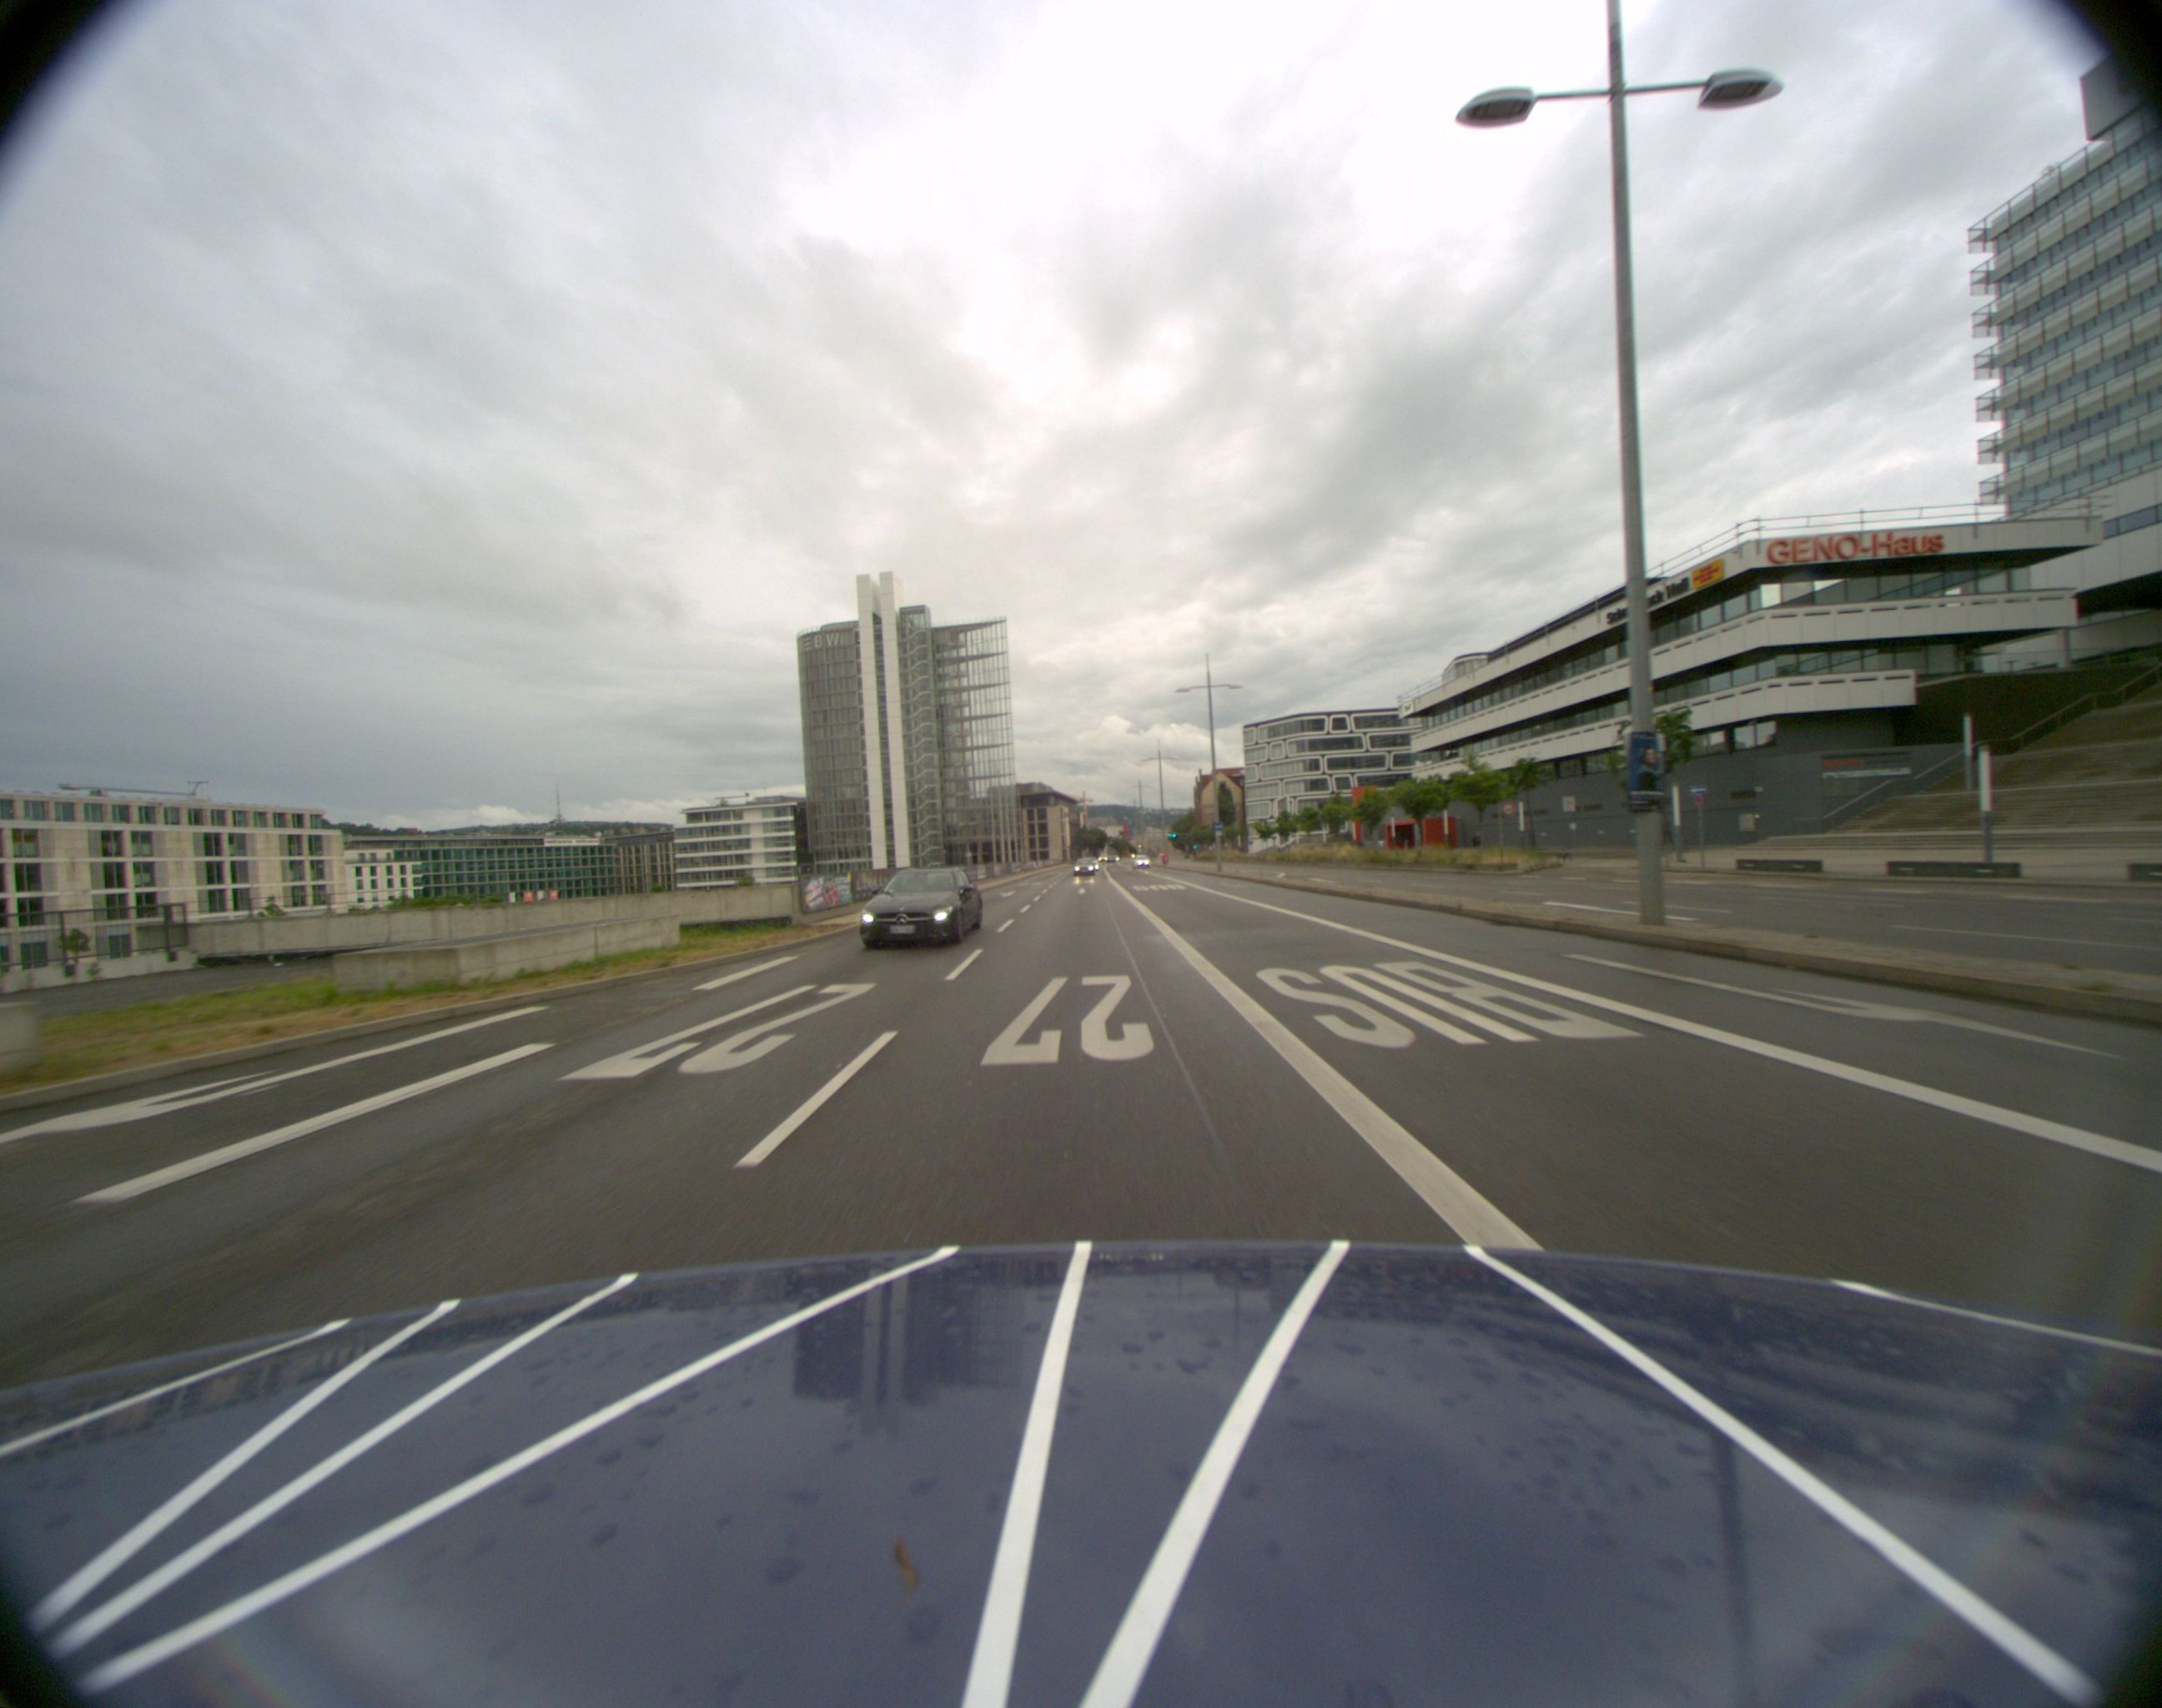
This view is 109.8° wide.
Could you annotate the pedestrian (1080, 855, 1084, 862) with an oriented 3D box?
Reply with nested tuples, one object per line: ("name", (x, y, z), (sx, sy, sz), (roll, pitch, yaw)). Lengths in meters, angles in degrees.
("pedestrian", (0.199, 0.925, 156.428), (0.660, 1.601, 0.547), (-3, 0, 8))

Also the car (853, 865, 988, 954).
("car", (-3.007, 0.991, 15.113), (1.727, 1.368, 4.155), (-2, 0, 0))

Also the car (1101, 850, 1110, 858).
("car", (6.016, -0.016, 186.817), (1.998, 2.002, 3.999), (-2, 1, 0))

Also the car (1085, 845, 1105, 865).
("car", (1.439, 0.084, 80.220), (1.998, 2.002, 3.999), (-2, 1, 0))

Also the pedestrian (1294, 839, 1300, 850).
("pedestrian", (33.081, -1.500, 116.496), (0.612, 1.602, 0.640), (-4, 1, 5))

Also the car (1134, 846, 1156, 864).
("car", (7.160, 0.073, 85.202), (1.971, 1.816, 3.926), (-3, 2, 0))

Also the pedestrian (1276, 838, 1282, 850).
("pedestrian", (28.488, -1.445, 109.444), (0.619, 1.648, 0.798), (0, 2, 3))

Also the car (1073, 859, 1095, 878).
("car", (0.256, 1.194, 63.171), (1.684, 1.379, 3.476), (-2, 1, 1))

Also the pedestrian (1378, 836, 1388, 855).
("pedestrian", (29.319, -0.859, 73.709), (0.631, 1.797, 0.628), (-2, 2, 2))

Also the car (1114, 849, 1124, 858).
("car", (9.128, -0.068, 182.246), (1.998, 2.002, 3.999), (-2, 1, 0))

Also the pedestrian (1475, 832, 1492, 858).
("pedestrian", (27.747, -0.612, 52.332), (0.786, 1.797, 0.628), (-2, 2, 2))

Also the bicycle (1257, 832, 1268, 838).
("bicycle", (25.991, -2.742, 108.765), (0.610, 0.852, 1.653), (-3, 1, -32))
